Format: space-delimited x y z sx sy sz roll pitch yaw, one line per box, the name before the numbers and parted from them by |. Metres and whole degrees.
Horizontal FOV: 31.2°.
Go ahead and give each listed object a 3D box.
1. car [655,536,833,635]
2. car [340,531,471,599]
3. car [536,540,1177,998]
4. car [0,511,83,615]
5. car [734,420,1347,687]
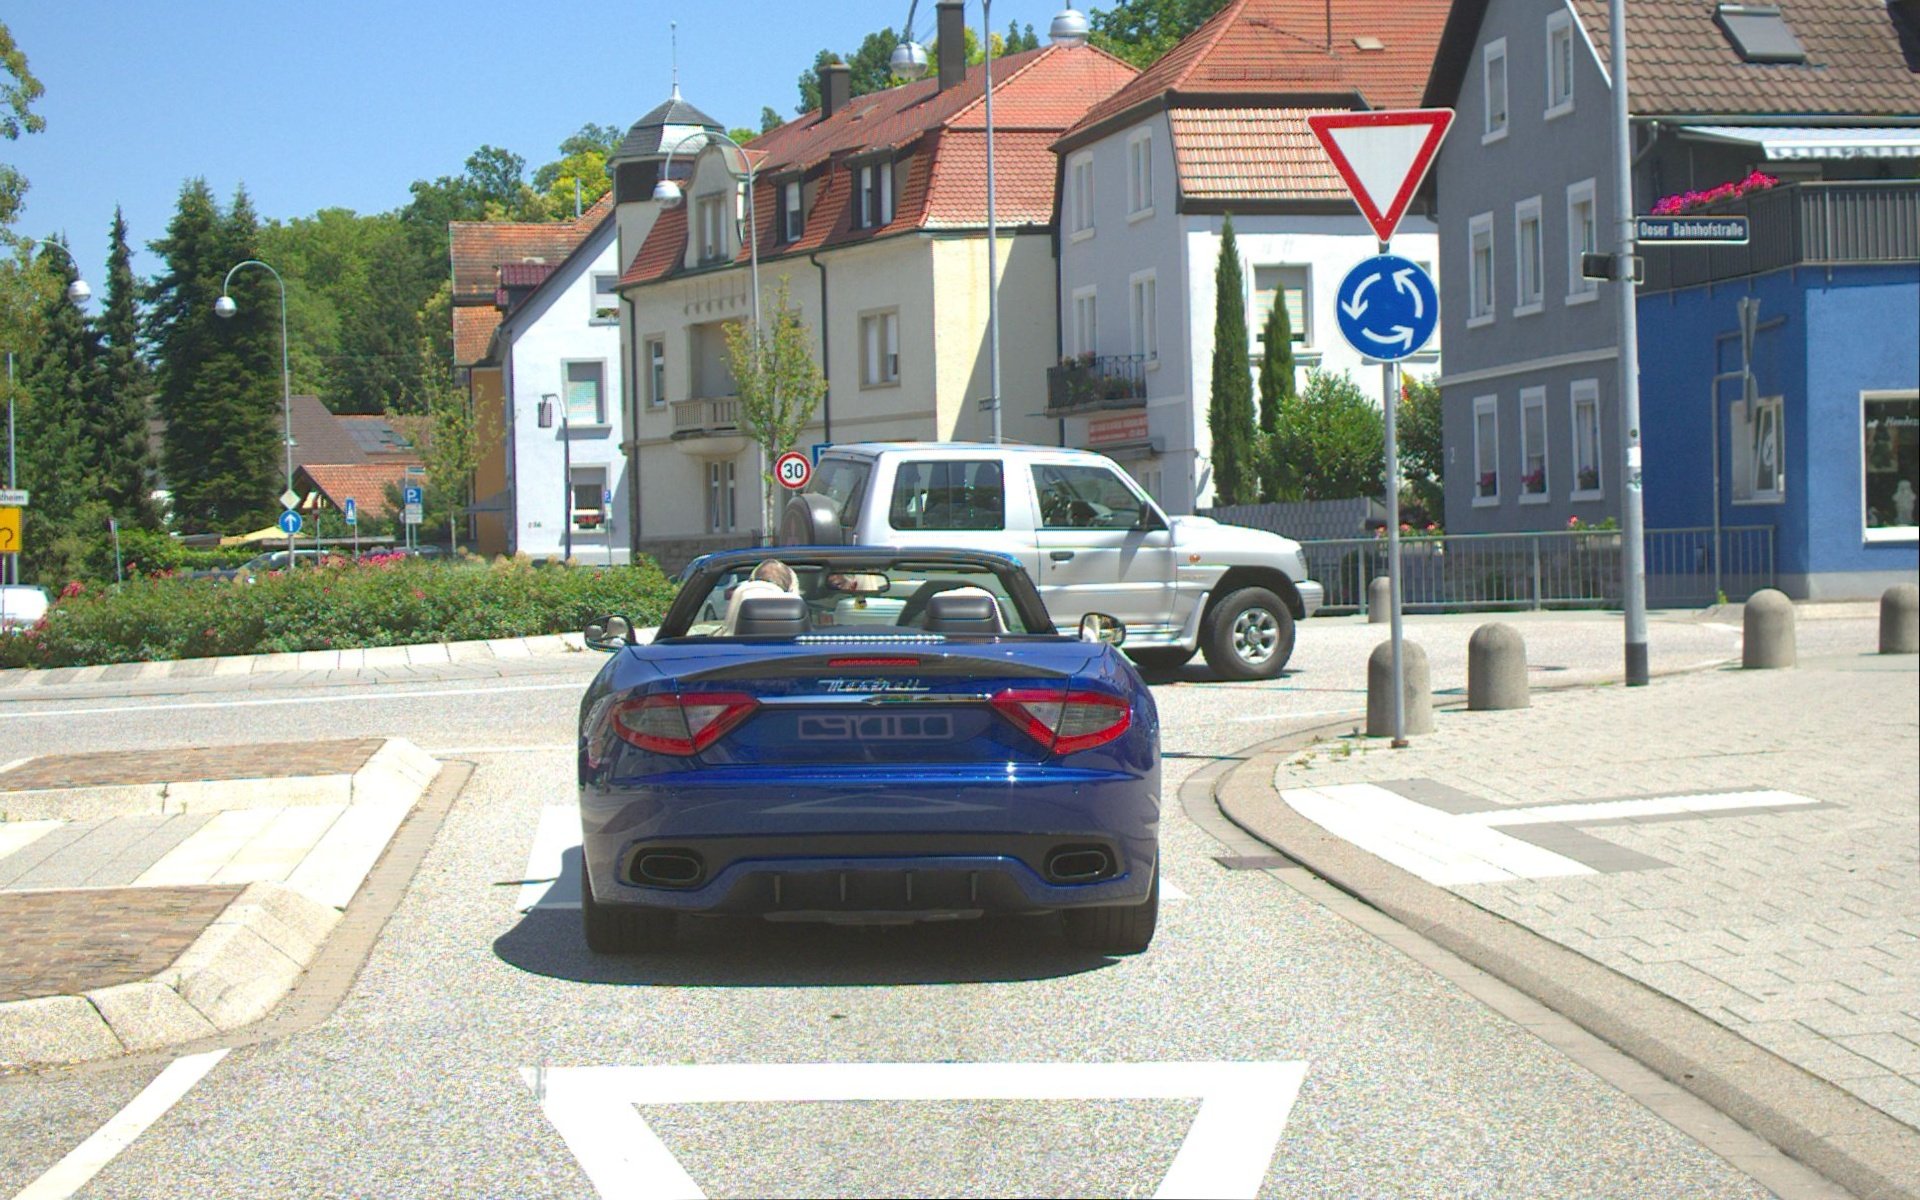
car | -3.865 -0.229 60.919 1.918 1.607 4.148 -2 0 -21
car | -14.188 -0.893 87.815 1.850 1.582 4.000 -4 1 -32
car | -0.323 0.472 12.459 1.910 1.356 4.286 -1 1 0
car | -15.100 -0.528 54.203 1.993 1.504 4.001 -6 2 -9
car | 0.592 -0.377 25.781 4.215 1.868 1.764 0 3 -20
